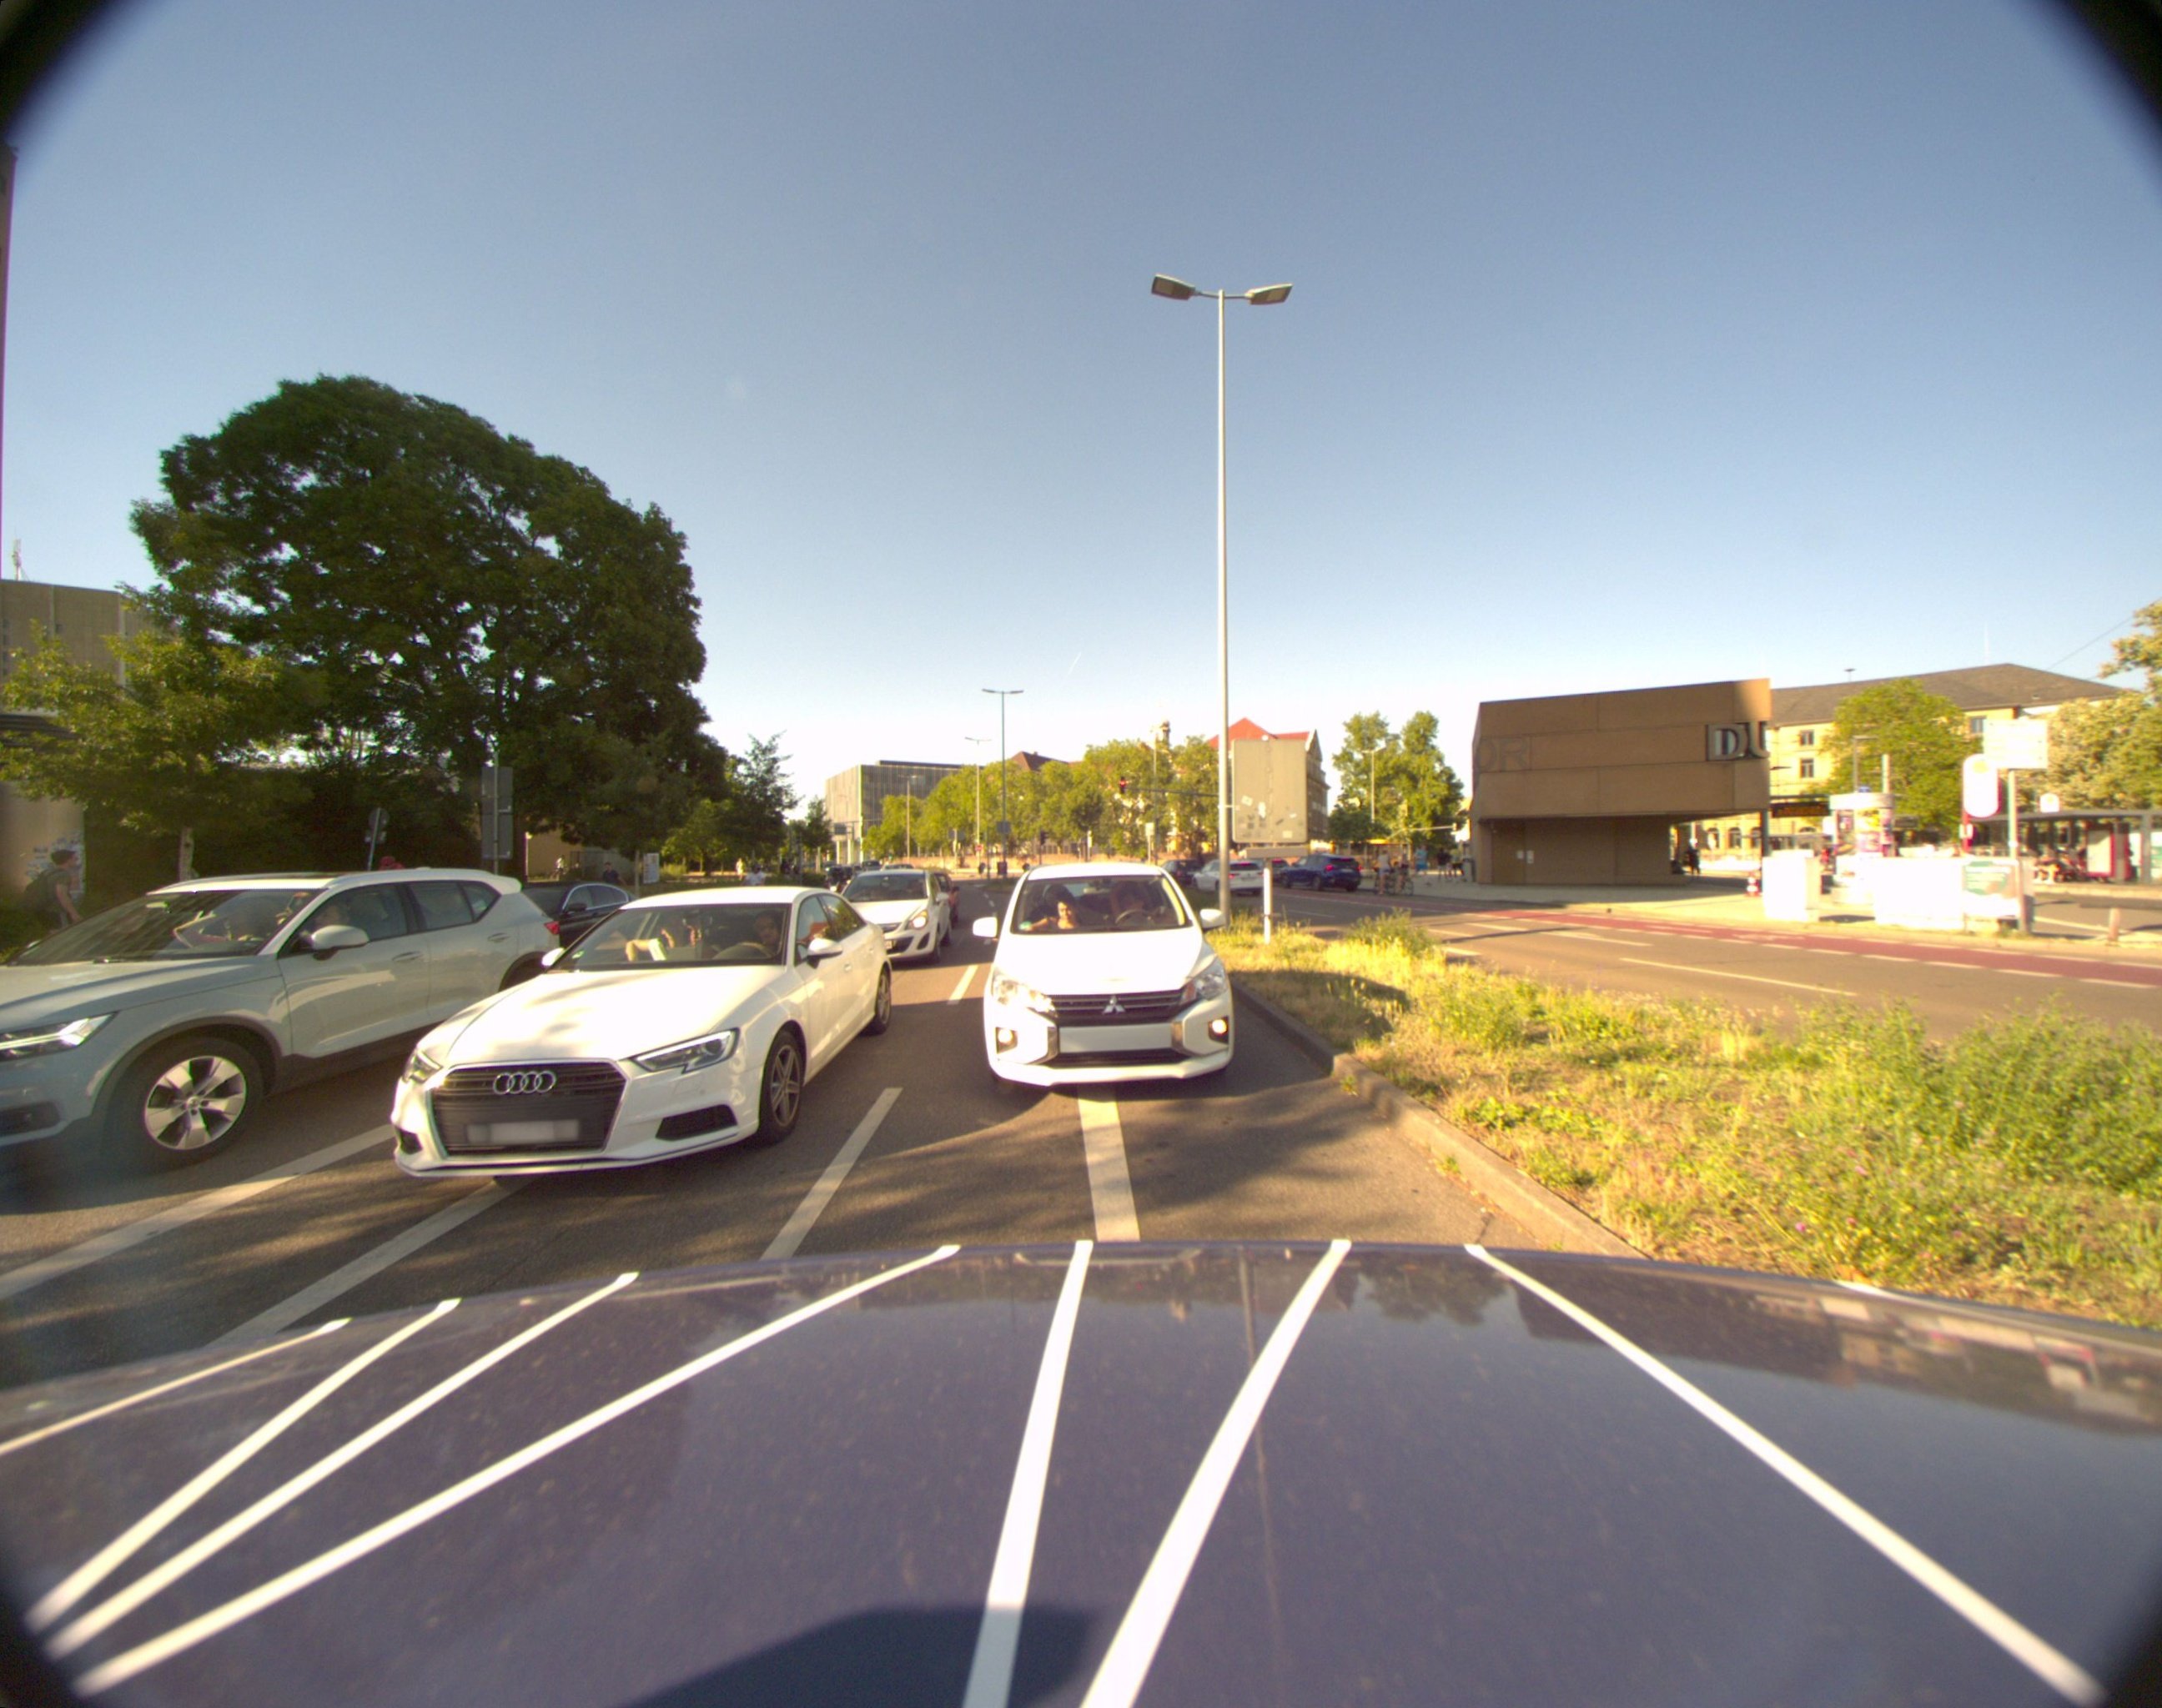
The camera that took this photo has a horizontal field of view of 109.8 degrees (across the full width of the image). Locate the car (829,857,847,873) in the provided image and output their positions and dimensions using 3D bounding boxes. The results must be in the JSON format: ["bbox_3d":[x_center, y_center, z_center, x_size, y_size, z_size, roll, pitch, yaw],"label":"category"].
[{"bbox_3d":[-27.298,1.226,85.247,1.748,1.696,3.993,-1,0,-19],"label":"car"}]

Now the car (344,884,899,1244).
[{"bbox_3d":[-2.552,1.036,5.398,1.628,1.396,3.832,-2,1,-2],"label":"car"}]

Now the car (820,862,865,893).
[{"bbox_3d":[-12.818,1.244,40.969,1.746,1.516,3.996,-1,0,-9],"label":"car"}]

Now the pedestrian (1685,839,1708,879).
[{"bbox_3d":[31.755,0.258,39.187,0.780,2.002,0.771,-3,2,-42],"label":"pedestrian"}]

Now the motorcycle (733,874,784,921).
[{"bbox_3d":[-10.163,1.348,24.032,0.718,1.297,2.234,-2,1,-4],"label":"motorcycle"}]

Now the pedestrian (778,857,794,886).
[{"bbox_3d":[-16.109,0.954,41.469,0.596,1.585,0.594,-2,1,-8],"label":"pedestrian"}]

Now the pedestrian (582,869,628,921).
[{"bbox_3d":[-16.353,1.400,26.137,1.010,1.711,0.884,-2,1,-10],"label":"pedestrian"}]

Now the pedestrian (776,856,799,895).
[{"bbox_3d":[-15.647,1.132,40.501,0.895,2.002,0.881,-2,1,-10],"label":"pedestrian"}]

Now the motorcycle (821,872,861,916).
[{"bbox_3d":[-8.084,1.325,25.718,0.718,1.297,2.234,-2,1,-4],"label":"motorcycle"}]

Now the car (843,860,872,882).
[{"bbox_3d":[-16.605,1.261,56.405,1.748,1.536,3.993,-1,0,-21],"label":"car"}]

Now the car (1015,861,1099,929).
[{"bbox_3d":[-0.729,0.970,19.855,1.756,1.451,4.186,-2,1,-7],"label":"car"}]

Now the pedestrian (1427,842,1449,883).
[{"bbox_3d":[17.648,0.408,37.551,0.777,2.002,0.773,-2,1,13],"label":"pedestrian"}]

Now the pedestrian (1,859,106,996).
[{"bbox_3d":[-14.647,1.020,10.844,0.464,1.875,0.696,-2,1,18],"label":"pedestrian"}]

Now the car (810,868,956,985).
[{"bbox_3d":[-3.073,1.048,12.587,1.628,1.451,4.039,-2,1,-5],"label":"car"}]

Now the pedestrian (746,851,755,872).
[{"bbox_3d":[-26.361,0.588,60.537,0.548,1.597,0.603,-3,1,-19],"label":"pedestrian"}]

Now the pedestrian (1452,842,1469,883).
[{"bbox_3d":[18.411,0.410,36.898,0.655,2.002,0.469,-2,1,20],"label":"pedestrian"}]

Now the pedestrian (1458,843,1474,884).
[{"bbox_3d":[19.143,0.449,37.787,0.655,2.002,0.469,-2,1,20],"label":"pedestrian"}]

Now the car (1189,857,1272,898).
[{"bbox_3d":[6.065,0.903,31.356,1.850,1.483,4.388,-2,1,-10],"label":"car"}]

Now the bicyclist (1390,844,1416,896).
[{"bbox_3d":[12.473,0.617,29.422,0.611,2.002,0.708,-1,1,-15],"label":"bicyclist"}]

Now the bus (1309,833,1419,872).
[{"bbox_3d":[27.320,-0.237,73.017,12.565,3.193,3.079,-3,1,-34],"label":"bus"}]

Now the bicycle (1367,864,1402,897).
[{"bbox_3d":[11.720,1.010,29.389,0.464,1.185,1.395,-3,1,-17],"label":"bicycle"}]

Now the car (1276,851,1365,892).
[{"bbox_3d":[10.352,0.710,33.206,1.757,1.680,4.183,-1,0,-14],"label":"car"}]

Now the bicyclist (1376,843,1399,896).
[{"bbox_3d":[11.781,0.597,29.199,0.611,2.002,0.565,-1,1,-15],"label":"bicyclist"}]

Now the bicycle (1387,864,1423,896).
[{"bbox_3d":[12.506,0.980,29.391,0.464,1.185,1.395,-3,1,-17],"label":"bicycle"}]

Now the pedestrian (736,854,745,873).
[{"bbox_3d":[-27.028,0.744,60.306,0.548,1.521,0.603,-3,1,-19],"label":"pedestrian"}]

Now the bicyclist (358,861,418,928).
[{"bbox_3d":[-16.986,0.972,18.638,0.617,1.551,0.871,-2,1,-6],"label":"bicyclist"}]

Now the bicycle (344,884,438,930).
[{"bbox_3d":[-16.965,1.281,18.750,0.660,0.958,2.033,0,1,-7],"label":"bicycle"}]

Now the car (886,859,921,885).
[{"bbox_3d":[-11.502,1.119,48.992,1.748,1.536,3.993,-1,0,-20],"label":"car"}]

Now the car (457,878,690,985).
[{"bbox_3d":[-9.129,1.291,14.169,1.756,1.451,4.186,-2,1,-5],"label":"car"}]

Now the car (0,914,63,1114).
[{"bbox_3d":[-8.757,1.241,3.891,1.628,1.451,4.040,-2,1,-2],"label":"car"}]

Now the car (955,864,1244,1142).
[{"bbox_3d":[0.057,0.893,6.441,1.628,1.451,4.040,-2,1,-2],"label":"car"}]

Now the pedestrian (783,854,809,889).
[{"bbox_3d":[-16.915,1.016,45.085,1.143,2.002,1.285,-2,1,-10],"label":"pedestrian"}]

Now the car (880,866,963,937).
[{"bbox_3d":[-3.896,1.096,19.105,1.628,1.451,4.039,-2,1,-7],"label":"car"}]

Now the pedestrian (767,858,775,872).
[{"bbox_3d":[-45.636,1.644,111.934,0.840,2.002,1.065,-3,1,-30],"label":"pedestrian"}]

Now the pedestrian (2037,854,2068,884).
[{"bbox_3d":[39.021,0.609,30.530,0.539,1.180,0.659,-2,1,29],"label":"pedestrian"}]

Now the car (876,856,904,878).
[{"bbox_3d":[-15.626,1.025,62.104,1.748,1.696,3.993,-1,0,-21],"label":"car"}]

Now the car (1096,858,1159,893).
[{"bbox_3d":[2.132,0.986,35.942,1.757,1.451,4.184,-2,1,-13],"label":"car"}]

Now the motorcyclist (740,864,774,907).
[{"bbox_3d":[-10.166,0.981,23.867,0.718,1.297,0.735,-2,1,-4],"label":"motorcyclist"}]

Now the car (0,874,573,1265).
[{"bbox_3d":[-5.749,1.052,5.266,1.628,1.611,4.223,-2,1,-2],"label":"car"}]

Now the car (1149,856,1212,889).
[{"bbox_3d":[4.813,0.870,37.417,1.757,1.451,4.184,-2,1,-11],"label":"car"}]

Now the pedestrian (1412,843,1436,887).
[{"bbox_3d":[14.846,0.487,32.920,0.797,1.886,0.612,0,1,40],"label":"pedestrian"}]

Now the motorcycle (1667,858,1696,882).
[{"bbox_3d":[26.247,0.703,33.212,0.948,1.061,0.331,-1,1,39],"label":"motorcycle"}]

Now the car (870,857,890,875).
[{"bbox_3d":[-20.282,1.179,76.689,1.880,1.805,3.995,-1,0,-14],"label":"car"}]

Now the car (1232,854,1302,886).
[{"bbox_3d":[9.455,0.788,38.992,1.850,1.483,4.388,1,0,-10],"label":"car"}]

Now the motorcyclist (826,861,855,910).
[{"bbox_3d":[-8.081,1.057,25.563,0.711,1.581,0.690,-2,1,-4],"label":"motorcyclist"}]
